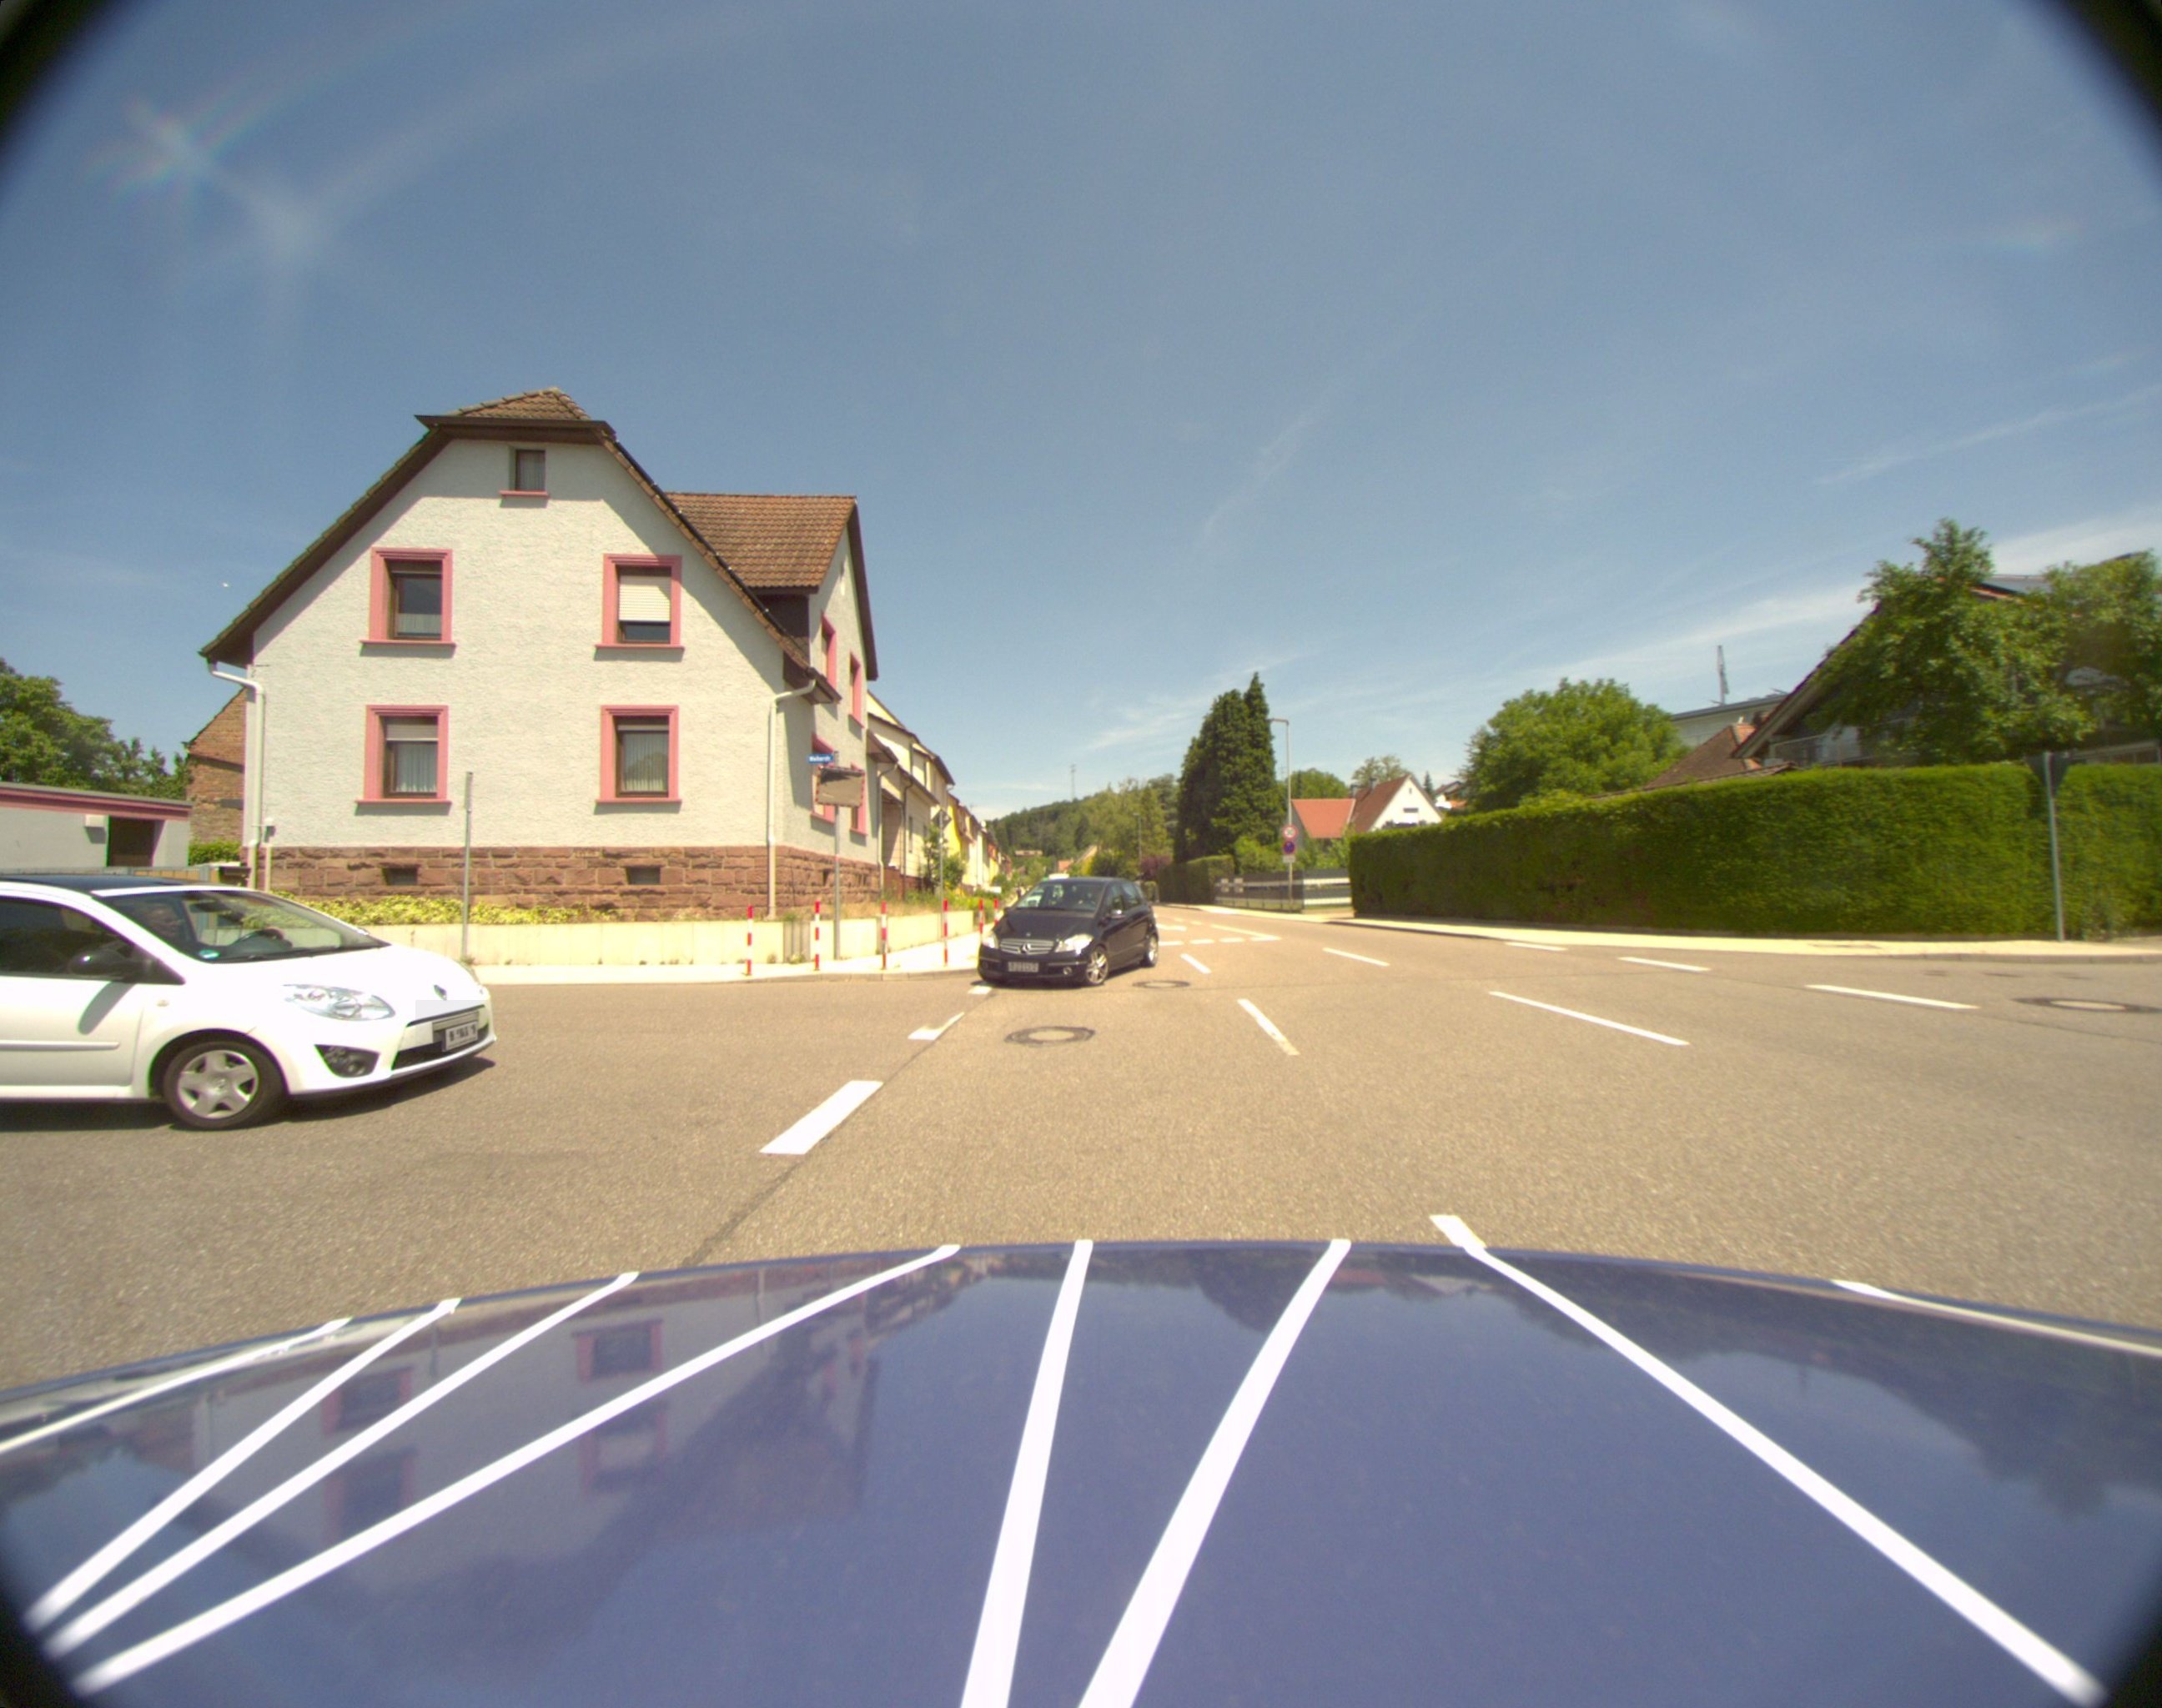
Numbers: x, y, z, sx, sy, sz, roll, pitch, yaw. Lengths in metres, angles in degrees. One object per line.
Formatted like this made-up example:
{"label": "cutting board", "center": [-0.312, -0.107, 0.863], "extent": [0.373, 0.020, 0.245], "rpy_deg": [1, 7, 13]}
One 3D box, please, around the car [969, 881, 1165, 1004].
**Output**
{"label": "car", "center": [-0.008, 1.257, 12.086], "extent": [1.865, 1.579, 4.163], "rpy_deg": [-2, -3, 17]}

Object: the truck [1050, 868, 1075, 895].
{"label": "truck", "center": [-2.535, 3.718, 102.110], "extent": [3.150, 3.465, 8.273], "rpy_deg": [-1, -2, -2]}

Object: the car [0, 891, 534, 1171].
{"label": "car", "center": [-6.125, 1.005, 5.001], "extent": [3.681, 1.469, 1.775], "rpy_deg": [0, -1, -6]}

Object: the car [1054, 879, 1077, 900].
{"label": "car", "center": [-1.651, 3.627, 79.049], "extent": [1.999, 2.001, 4.547], "rpy_deg": [-3, -1, -5]}

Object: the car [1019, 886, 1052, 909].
{"label": "car", "center": [-3.291, 3.155, 55.629], "extent": [1.998, 1.509, 4.146], "rpy_deg": [3, -2, 1]}

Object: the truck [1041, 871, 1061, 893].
{"label": "truck", "center": [-5.022, 4.791, 127.268], "extent": [3.150, 3.465, 8.273], "rpy_deg": [-2, -2, -3]}
